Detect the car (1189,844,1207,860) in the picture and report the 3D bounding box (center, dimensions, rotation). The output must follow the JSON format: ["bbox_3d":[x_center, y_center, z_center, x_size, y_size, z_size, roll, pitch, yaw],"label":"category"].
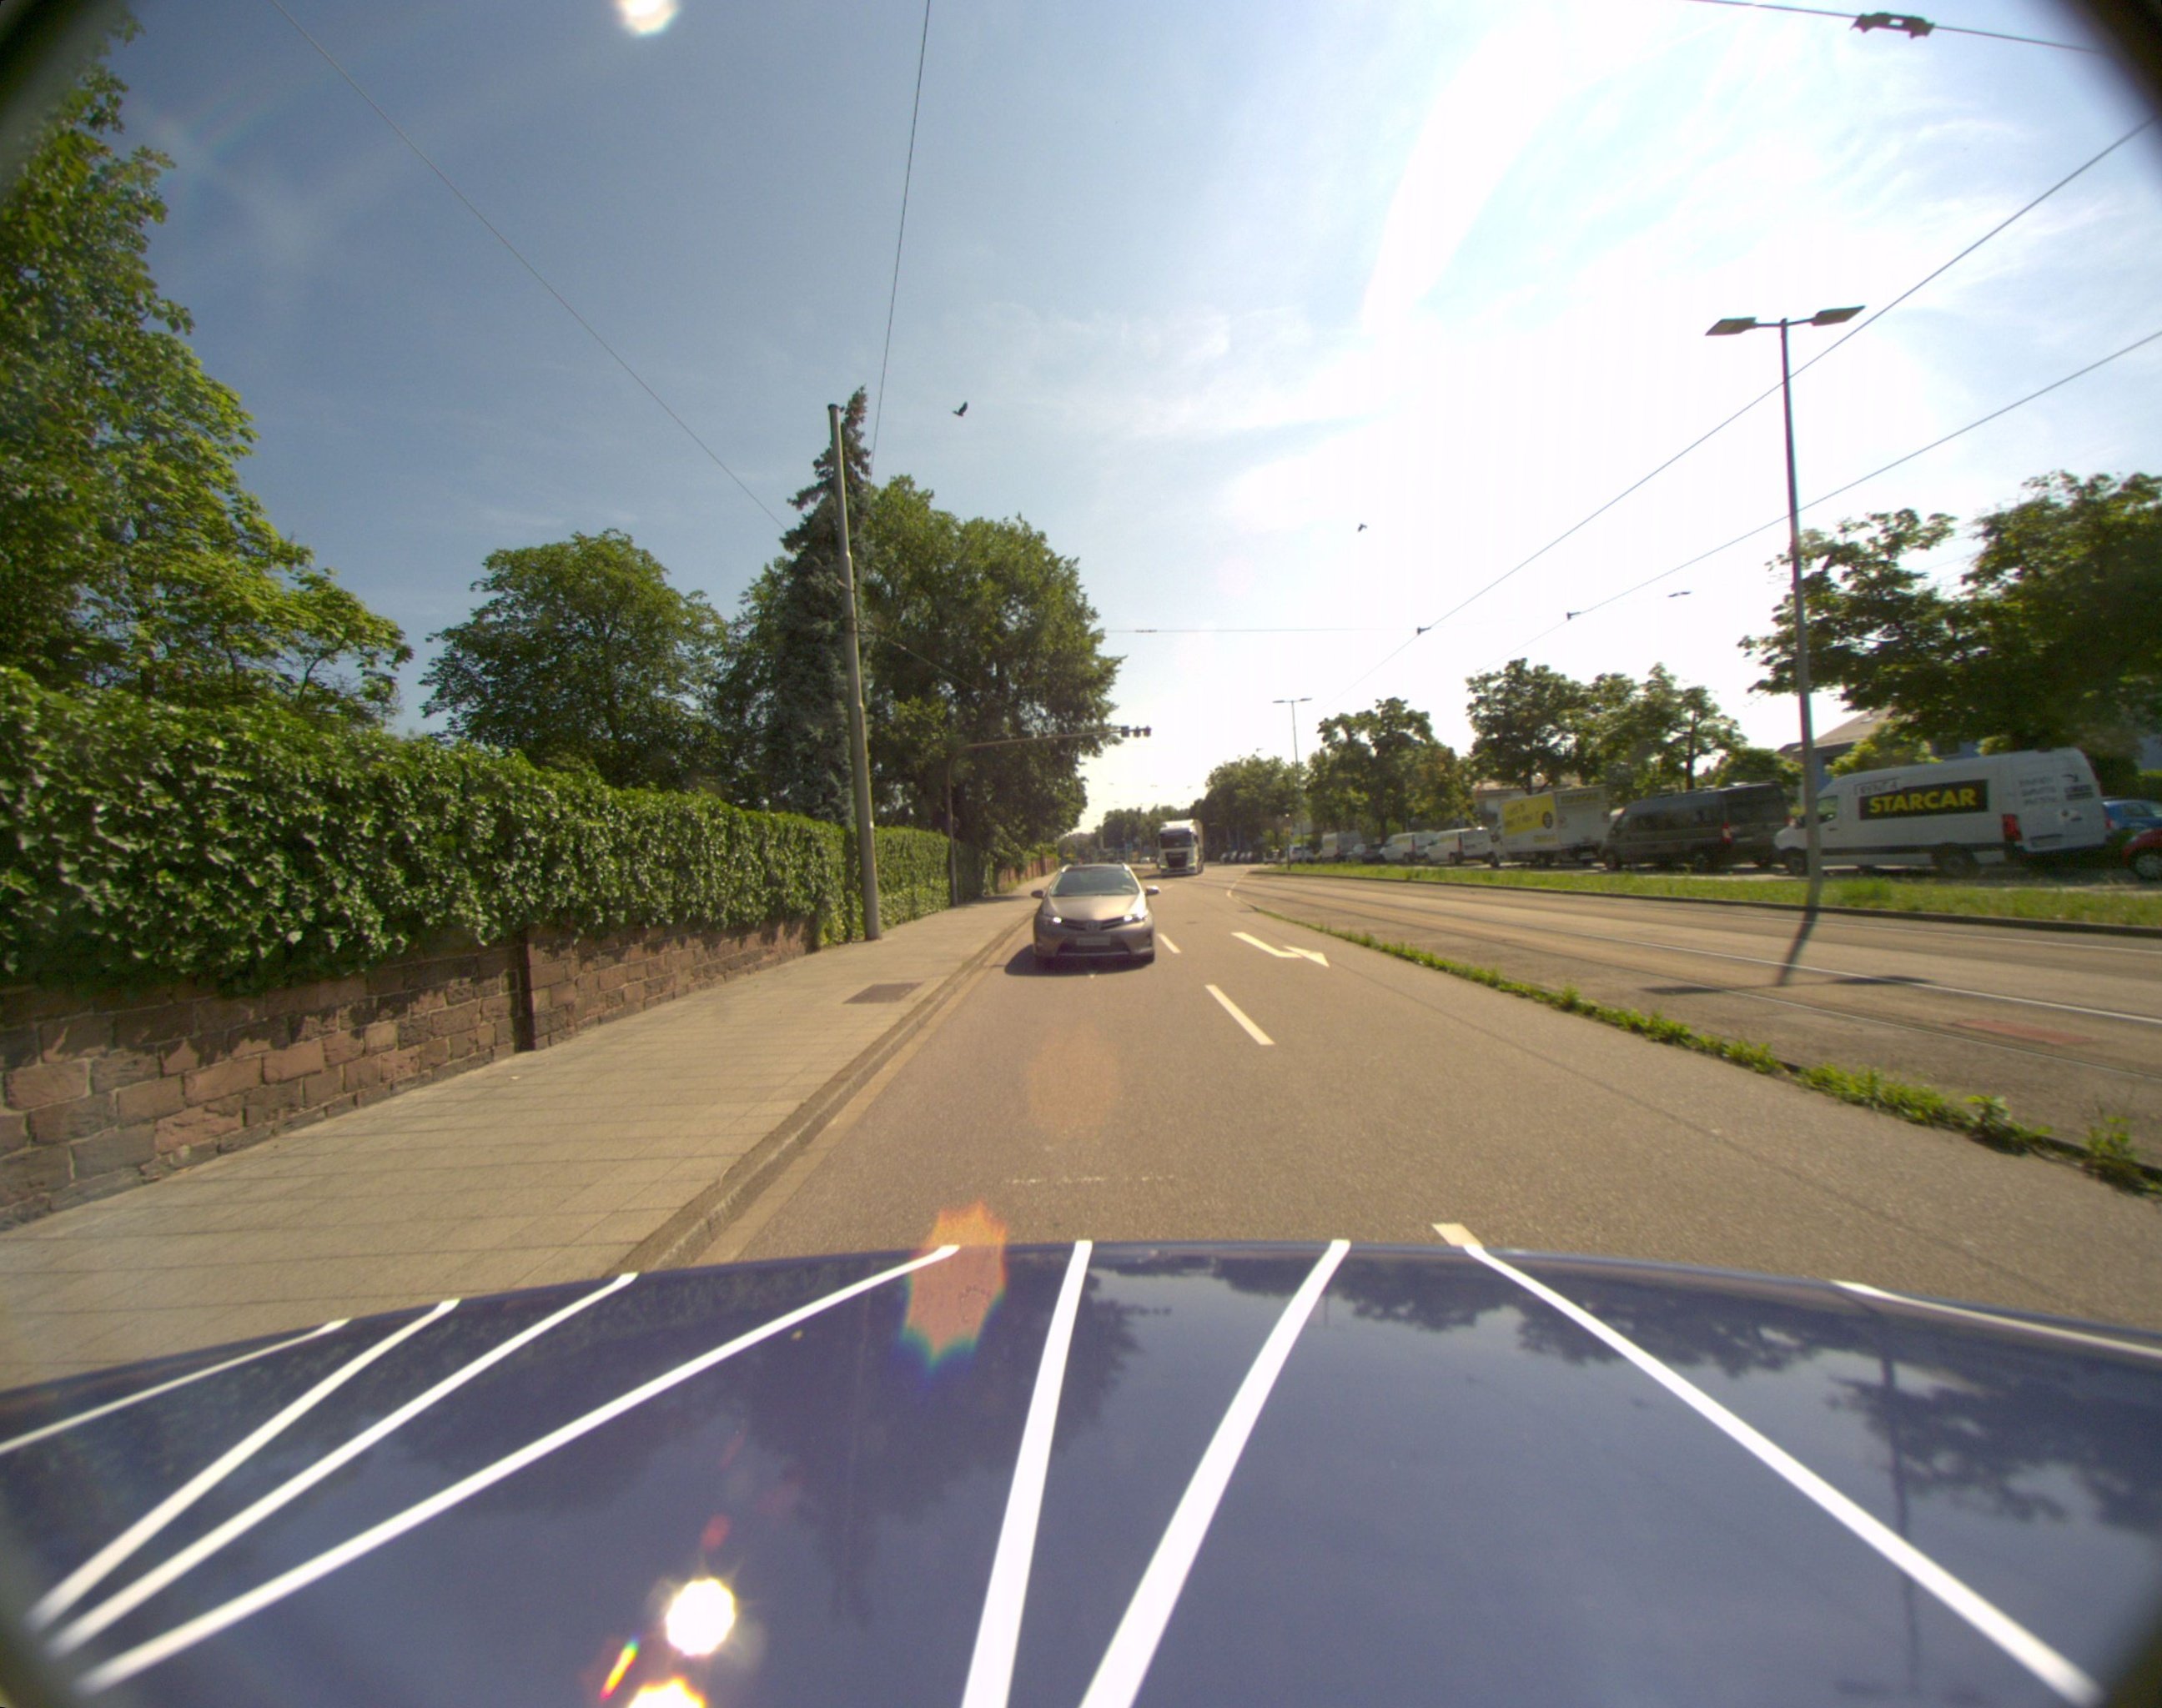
[{"bbox_3d":[21.385,-0.361,139.234,2.016,2.635,6.086,-7,0,1],"label":"car"}]

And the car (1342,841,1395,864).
[{"bbox_3d":[20.695,-0.084,54.890,1.937,1.446,4.886,-5,0,1],"label":"car"}]

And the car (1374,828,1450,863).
[{"bbox_3d":[21.101,-0.485,48.679,2.202,1.929,5.184,-5,0,-3],"label":"car"}]

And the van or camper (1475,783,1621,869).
[{"bbox_3d":[20.331,-1.083,33.617,2.201,3.222,6.773,-6,0,2],"label":"van or camper"}]

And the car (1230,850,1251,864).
[{"bbox_3d":[21.165,0.385,100.789,1.679,1.603,4.242,-3,0,-1],"label":"car"}]

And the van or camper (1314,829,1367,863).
[{"bbox_3d":[20.954,-0.576,61.588,2.262,2.499,6.148,-3,0,2],"label":"van or camper"}]

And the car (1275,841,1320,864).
[{"bbox_3d":[16.124,-0.111,56.853,2.048,1.587,4.660,-2,0,1],"label":"car"}]

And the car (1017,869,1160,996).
[{"bbox_3d":[0.239,1.020,11.453,1.719,1.439,4.032,-2,0,4],"label":"car"}]

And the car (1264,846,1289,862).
[{"bbox_3d":[19.164,-0.031,74.526,1.793,1.414,4.342,-4,0,21],"label":"car"}]

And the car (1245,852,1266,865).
[{"bbox_3d":[20.914,0.510,91.001,1.619,1.442,4.083,-3,0,2],"label":"car"}]

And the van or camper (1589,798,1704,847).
[{"bbox_3d":[44.019,-2.407,59.268,6.968,3.225,2.582,-4,0,-1],"label":"van or camper"}]

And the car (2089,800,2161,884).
[{"bbox_3d":[20.019,-0.246,12.732,1.295,1.481,3.676,-4,0,-1],"label":"car"}]

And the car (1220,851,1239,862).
[{"bbox_3d":[21.135,0.337,108.243,1.679,1.427,4.457,-3,0,-1],"label":"car"}]

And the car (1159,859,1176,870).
[{"bbox_3d":[10.728,1.280,94.834,1.700,1.248,4.000,-4,0,1],"label":"car"}]

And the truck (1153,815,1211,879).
[{"bbox_3d":[8.044,-0.468,58.452,3.389,4.045,14.298,-5,-1,11],"label":"truck"}]

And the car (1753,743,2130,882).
[{"bbox_3d":[20.099,-0.812,18.399,2.201,2.615,5.979,-6,0,1],"label":"car"}]

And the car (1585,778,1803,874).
[{"bbox_3d":[20.169,-0.816,25.530,2.201,2.653,6.079,-5,0,0],"label":"car"}]

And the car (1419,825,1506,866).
[{"bbox_3d":[20.903,-0.431,41.930,2.201,1.929,5.186,-6,0,2],"label":"car"}]

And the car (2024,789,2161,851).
[{"bbox_3d":[31.573,-1.039,22.964,3.997,1.684,1.663,-3,0,0],"label":"car"}]

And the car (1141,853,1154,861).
[{"bbox_3d":[15.308,0.656,174.977,1.999,1.805,3.998,-4,0,-5],"label":"car"}]

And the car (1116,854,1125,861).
[{"bbox_3d":[11.359,1.036,217.423,1.999,1.783,3.998,-4,0,-5],"label":"car"}]

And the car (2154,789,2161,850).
[{"bbox_3d":[31.665,-1.066,20.139,3.997,1.684,1.663,-3,0,0],"label":"car"}]
